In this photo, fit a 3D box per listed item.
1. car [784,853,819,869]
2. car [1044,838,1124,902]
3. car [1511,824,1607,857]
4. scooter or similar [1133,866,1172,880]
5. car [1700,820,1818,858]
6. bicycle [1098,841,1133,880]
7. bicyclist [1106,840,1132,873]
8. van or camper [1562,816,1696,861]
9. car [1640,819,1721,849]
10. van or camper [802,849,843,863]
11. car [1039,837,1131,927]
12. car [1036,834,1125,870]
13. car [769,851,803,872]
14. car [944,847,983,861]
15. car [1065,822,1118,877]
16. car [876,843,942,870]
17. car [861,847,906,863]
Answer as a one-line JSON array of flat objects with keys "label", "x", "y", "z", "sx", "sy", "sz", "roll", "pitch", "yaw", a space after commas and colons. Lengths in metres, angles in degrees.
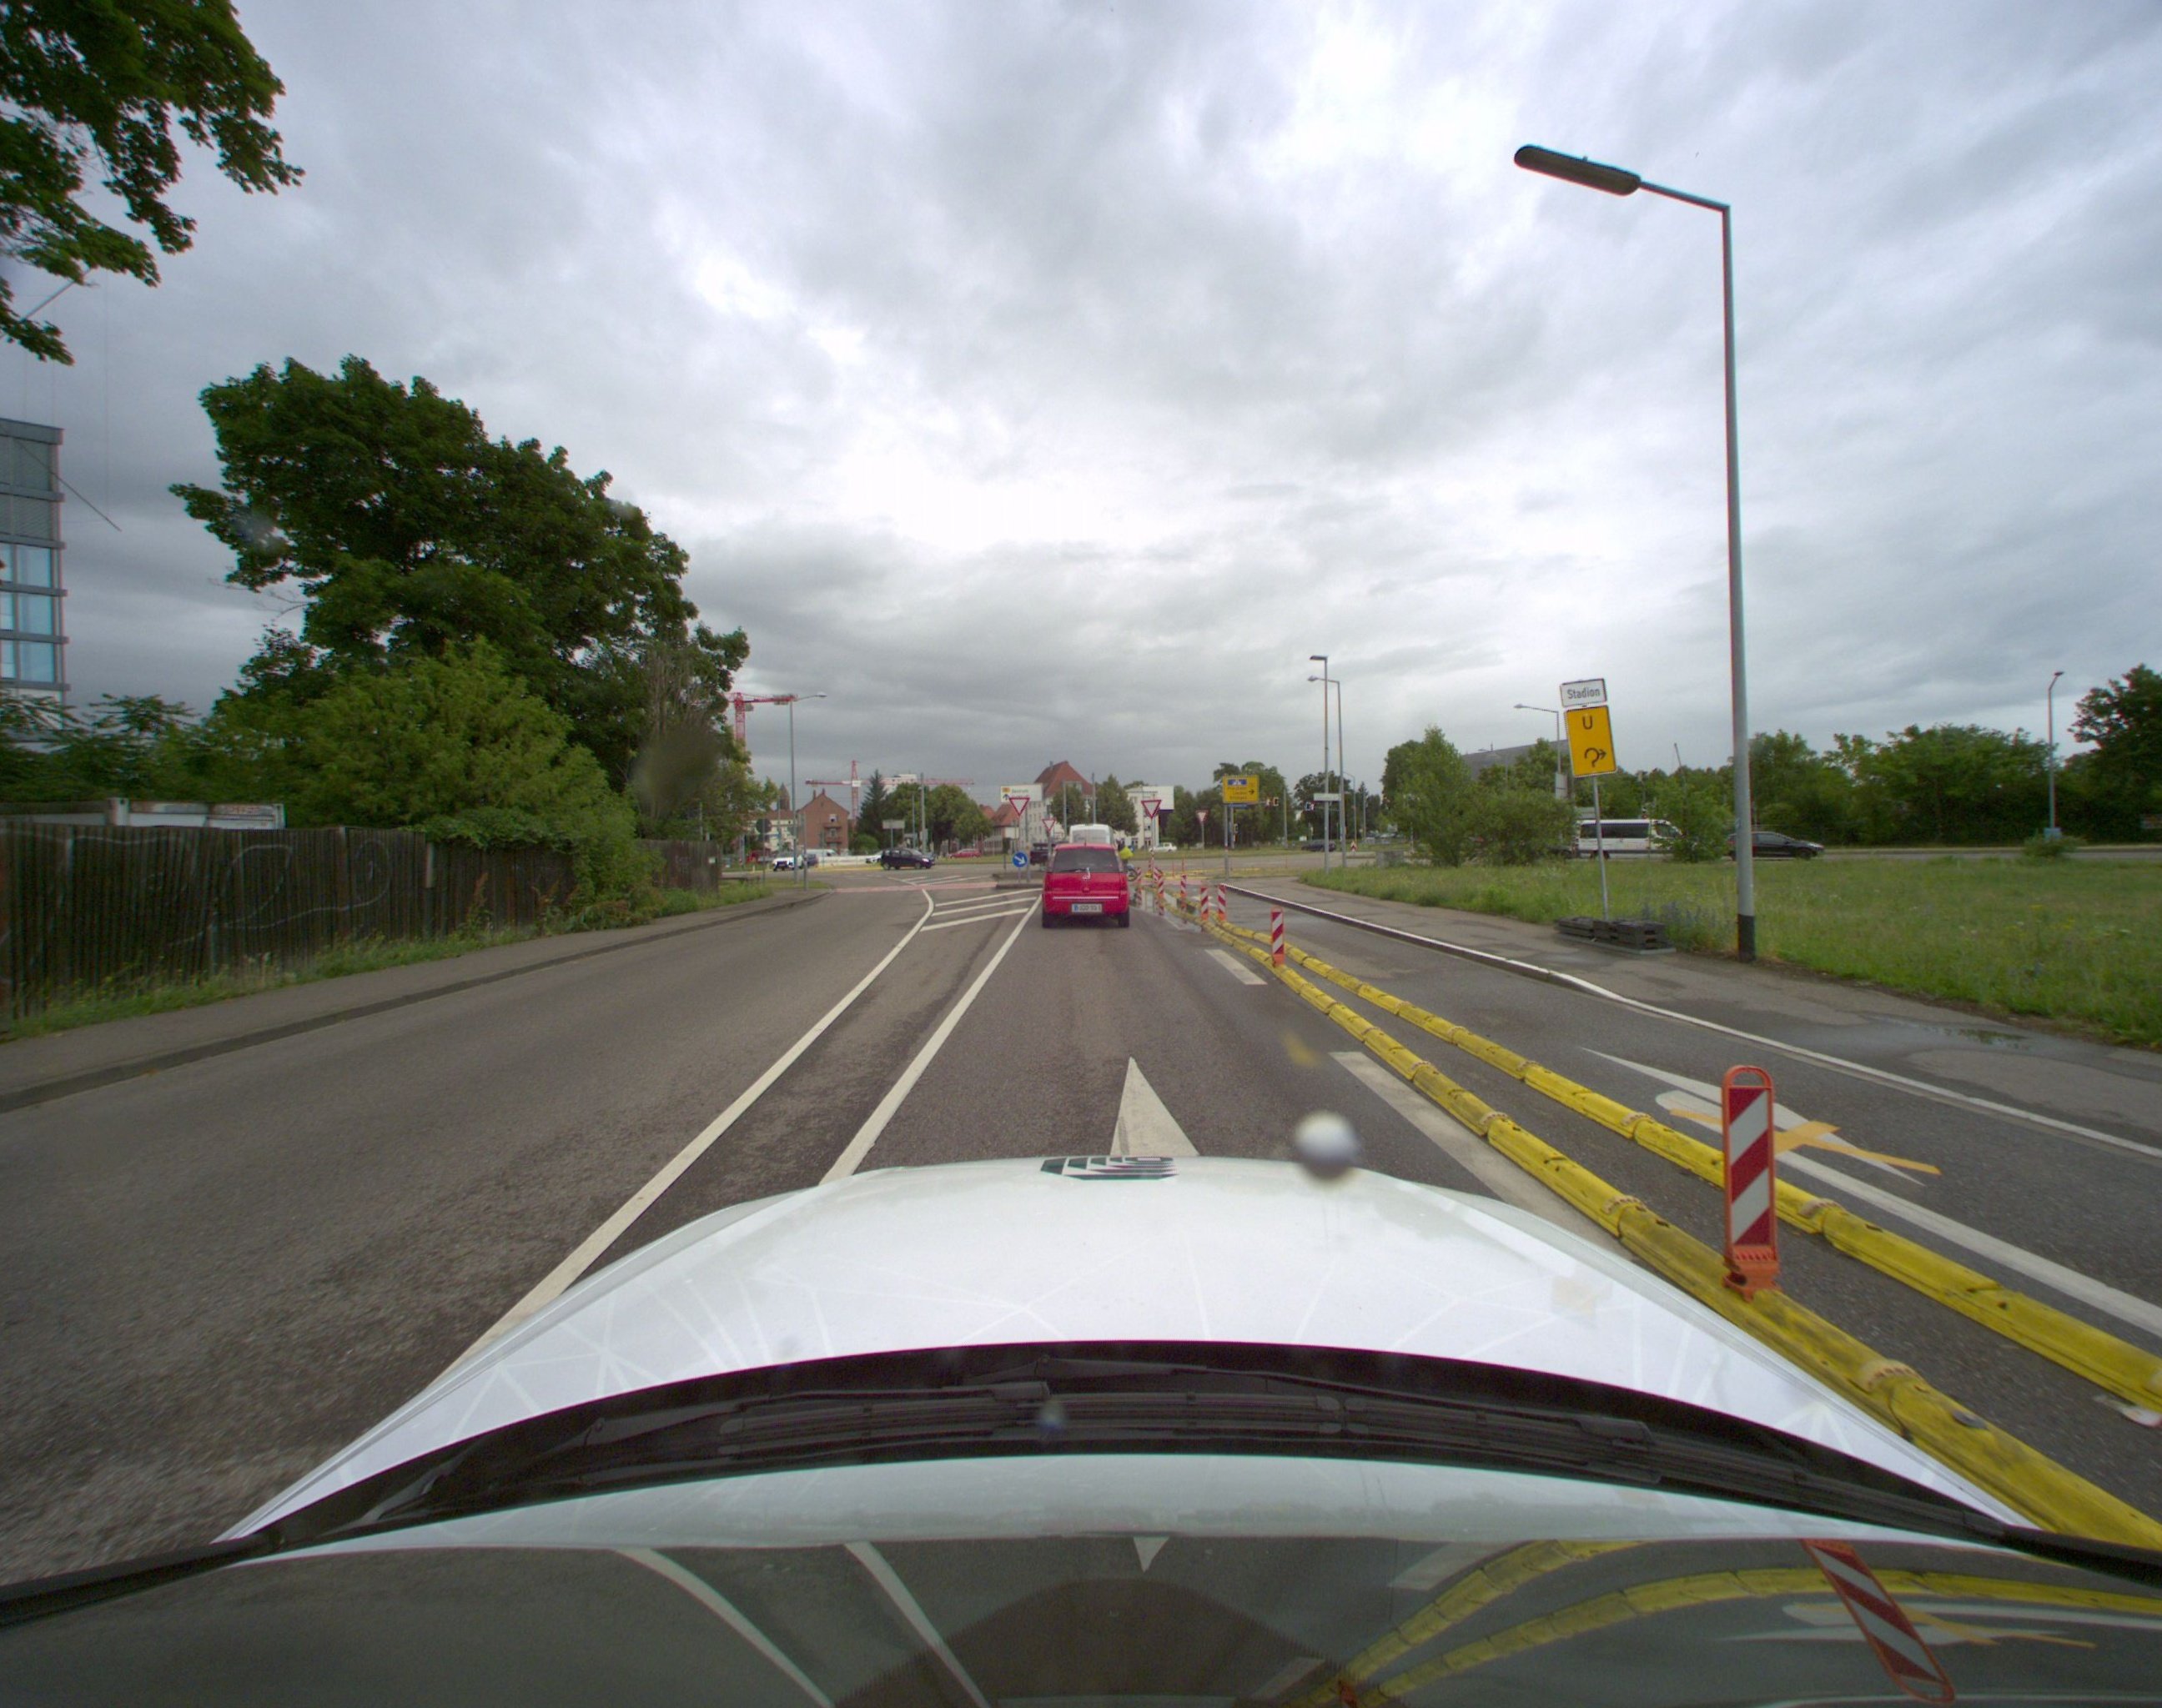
[{"label": "car", "x": -26.949, "y": 0.655, "z": 78.572, "sx": 1.924, "sy": 1.489, "sz": 4.000, "roll": -2, "pitch": 1, "yaw": 0}, {"label": "car", "x": 0.096, "y": 0.388, "z": 23.235, "sx": 2.053, "sy": 1.648, "sz": 4.607, "roll": 0, "pitch": 1, "yaw": 0}, {"label": "car", "x": 27.121, "y": -0.761, "z": 46.321, "sx": 4.327, "sy": 1.750, "sz": 2.009, "roll": -2, "pitch": 0, "yaw": 16}, {"label": "scooter or similar", "x": 3.063, "y": 0.817, "z": 35.025, "sx": 1.601, "sy": 0.504, "sz": 0.925, "roll": -2, "pitch": 1, "yaw": 3}, {"label": "car", "x": 34.585, "y": -0.756, "z": 41.733, "sx": 4.548, "sy": 1.795, "sz": 2.129, "roll": -1, "pitch": 1, "yaw": 38}, {"label": "bicycle", "x": 1.489, "y": 0.266, "z": 35.054, "sx": 1.471, "sy": 1.612, "sz": 0.606, "roll": -2, "pitch": 0, "yaw": 3}, {"label": "bicyclist", "x": 1.653, "y": 0.105, "z": 35.055, "sx": 1.057, "sy": 1.401, "sz": 0.615, "roll": -2, "pitch": 0, "yaw": 3}, {"label": "van or camper", "x": 27.999, "y": -0.753, "z": 41.880, "sx": 5.483, "sy": 2.115, "sz": 2.012, "roll": -1, "pitch": 1, "yaw": 27}, {"label": "car", "x": 43.324, "y": -1.416, "z": 58.918, "sx": 2.011, "sy": 2.013, "sz": 4.424, "roll": -2, "pitch": 1, "yaw": -42}, {"label": "van or camper", "x": -42.113, "y": 0.279, "z": 132.744, "sx": 6.138, "sy": 2.013, "sz": 2.006, "roll": -2, "pitch": 0, "yaw": 10}, {"label": "car", "x": 0.089, "y": 0.493, "z": 16.667, "sx": 1.668, "sy": 1.640, "sz": 3.627, "roll": 0, "pitch": 1, "yaw": 0}, {"label": "car", "x": 0.000, "y": -0.132, "z": 49.384, "sx": 4.993, "sy": 1.972, "sz": 2.231, "roll": -2, "pitch": 0, "yaw": 11}, {"label": "car", "x": -26.102, "y": 0.627, "z": 72.146, "sx": 1.929, "sy": 1.684, "sz": 4.178, "roll": -2, "pitch": 1, "yaw": -8}, {"label": "car", "x": -15.265, "y": -0.005, "z": 105.807, "sx": 4.676, "sy": 1.635, "sz": 1.986, "roll": -2, "pitch": 1, "yaw": -21}, {"label": "car", "x": 0.594, "y": -0.221, "z": 40.115, "sx": 2.184, "sy": 2.540, "sz": 4.971, "roll": 0, "pitch": 1, "yaw": 6}, {"label": "car", "x": -12.676, "y": 0.159, "z": 60.136, "sx": 4.168, "sy": 1.813, "sz": 2.084, "roll": -2, "pitch": 0, "yaw": 10}, {"label": "car", "x": -22.261, "y": 0.105, "z": 91.790, "sx": 1.974, "sy": 1.635, "sz": 4.705, "roll": -1, "pitch": 1, "yaw": 37}]
